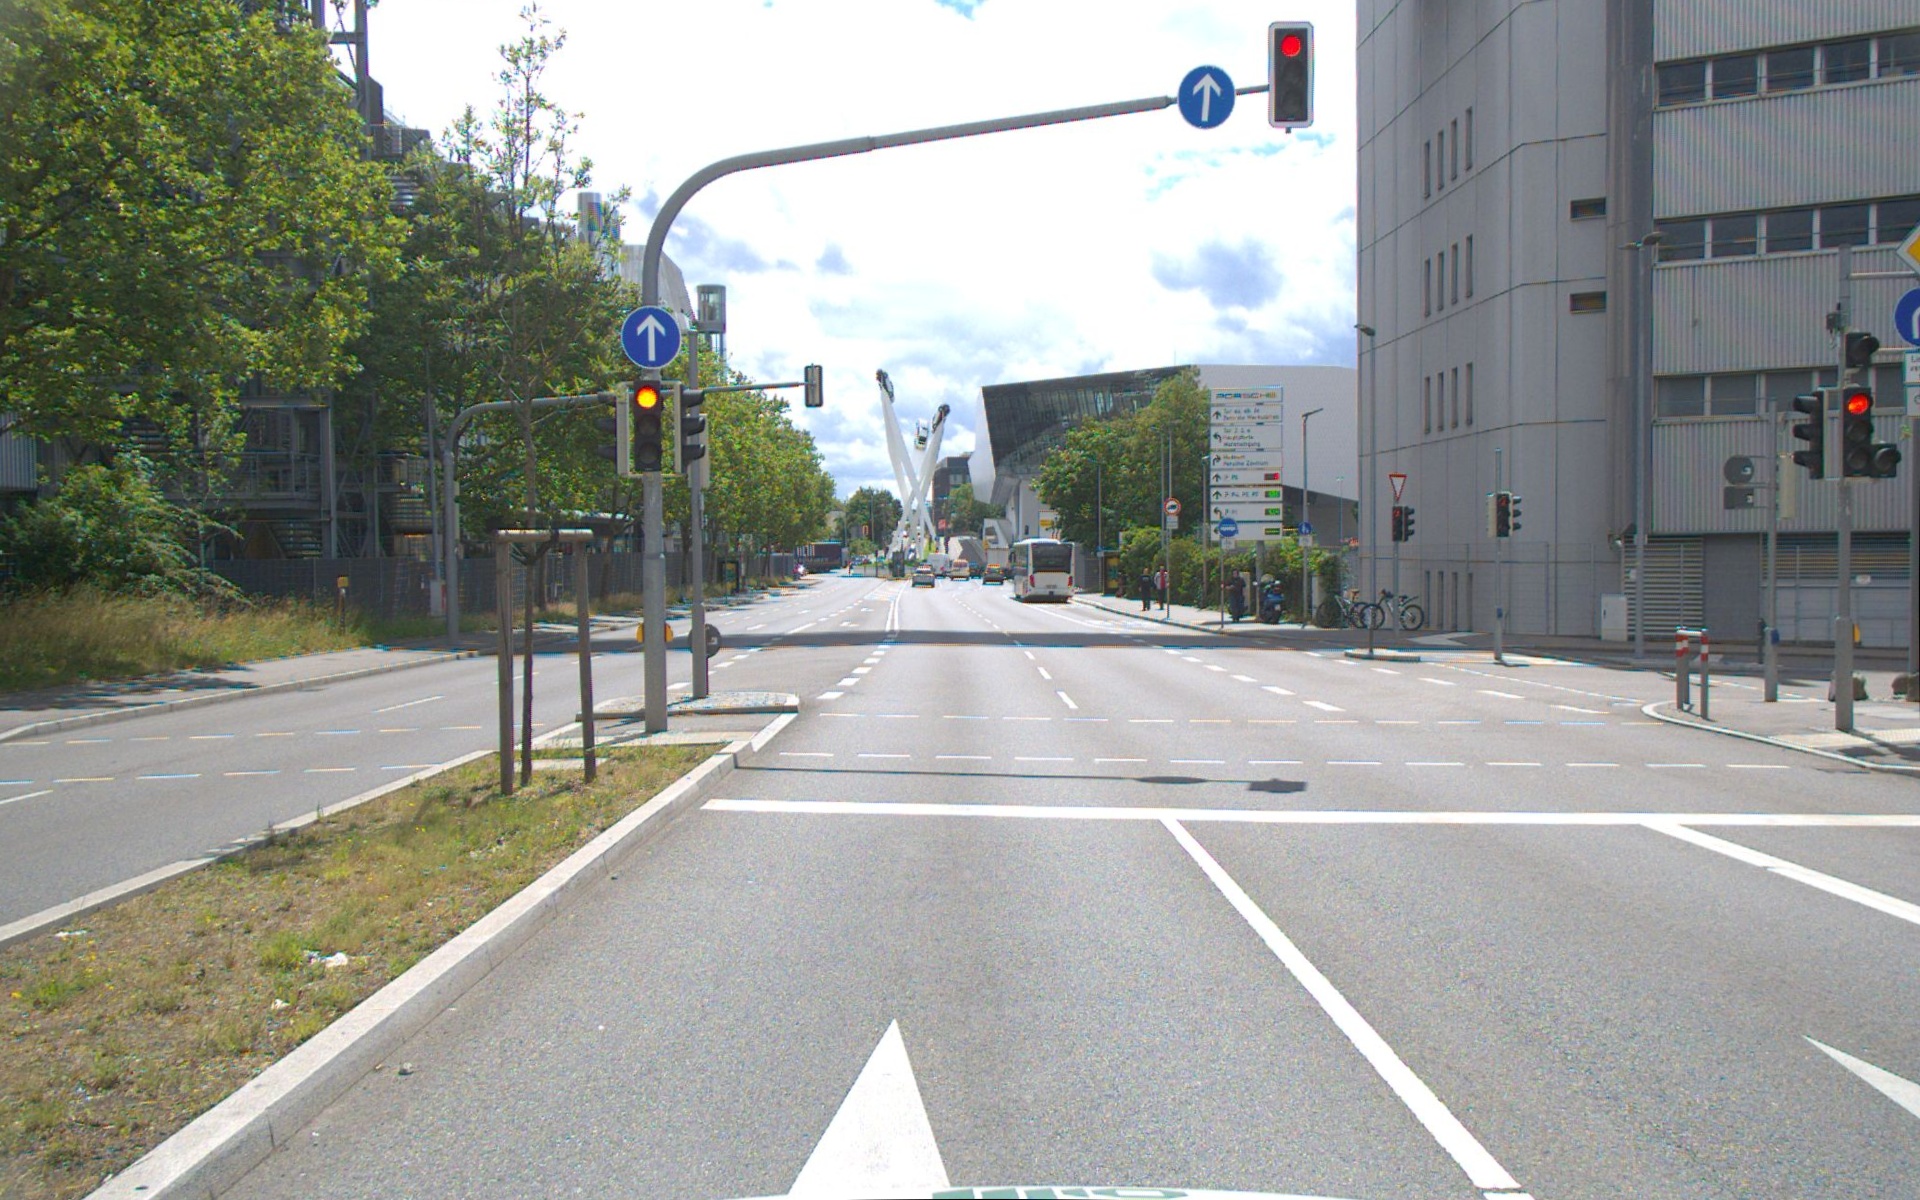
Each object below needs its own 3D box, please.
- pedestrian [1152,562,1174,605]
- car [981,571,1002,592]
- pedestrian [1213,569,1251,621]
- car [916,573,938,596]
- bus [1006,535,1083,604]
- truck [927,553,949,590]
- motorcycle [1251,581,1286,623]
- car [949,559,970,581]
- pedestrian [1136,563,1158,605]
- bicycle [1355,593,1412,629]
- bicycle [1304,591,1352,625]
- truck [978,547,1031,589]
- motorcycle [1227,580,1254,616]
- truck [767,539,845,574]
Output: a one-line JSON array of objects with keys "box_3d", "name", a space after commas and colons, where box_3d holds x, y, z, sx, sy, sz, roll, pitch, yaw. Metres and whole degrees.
[{"box_3d": [8.497, -0.683, 69.294, 0.803, 1.772, 0.637, 0, 0, -1], "name": "pedestrian"}, {"box_3d": [2.785, -1.636, 146.293, 1.703, 1.772, 3.691, 0, 1, -1], "name": "car"}, {"box_3d": [8.763, -0.178, 53.267, 0.834, 1.653, 0.951, 1, 0, 40], "name": "pedestrian"}, {"box_3d": [-2.593, -1.200, 129.961, 1.703, 1.772, 3.691, 0, 1, -1], "name": "car"}, {"box_3d": [4.607, -1.662, 92.542, 3.383, 3.605, 10.602, 0, 1, -2], "name": "bus"}, {"box_3d": [-2.361, -3.056, 178.519, 2.343, 3.965, 6.176, 0, 1, -1], "name": "truck"}, {"box_3d": [9.638, 0.056, 51.741, 0.692, 1.224, 2.024, -2, 1, -1], "name": "motorcycle"}, {"box_3d": [-0.054, -3.055, 166.858, 1.953, 2.049, 3.999, 1, -1, -1], "name": "car"}, {"box_3d": [7.827, -0.652, 69.209, 0.803, 1.737, 0.881, 0, 0, -1], "name": "pedestrian"}, {"box_3d": [11.655, 0.288, 45.559, 0.392, 0.953, 1.912, 0, 1, -26], "name": "bicycle"}, {"box_3d": [10.627, 0.226, 47.833, 0.391, 0.953, 1.918, 0, 1, -19], "name": "bicycle"}, {"box_3d": [4.883, -3.403, 178.333, 3.379, 4.468, 9.426, 1, 1, 17], "name": "truck"}, {"box_3d": [10.105, -0.097, 59.607, 0.562, 1.224, 2.024, -2, 1, -1], "name": "motorcycle"}, {"box_3d": [-21.270, -5.979, 229.465, 3.504, 4.399, 12.119, 1, -1, 36], "name": "truck"}]
